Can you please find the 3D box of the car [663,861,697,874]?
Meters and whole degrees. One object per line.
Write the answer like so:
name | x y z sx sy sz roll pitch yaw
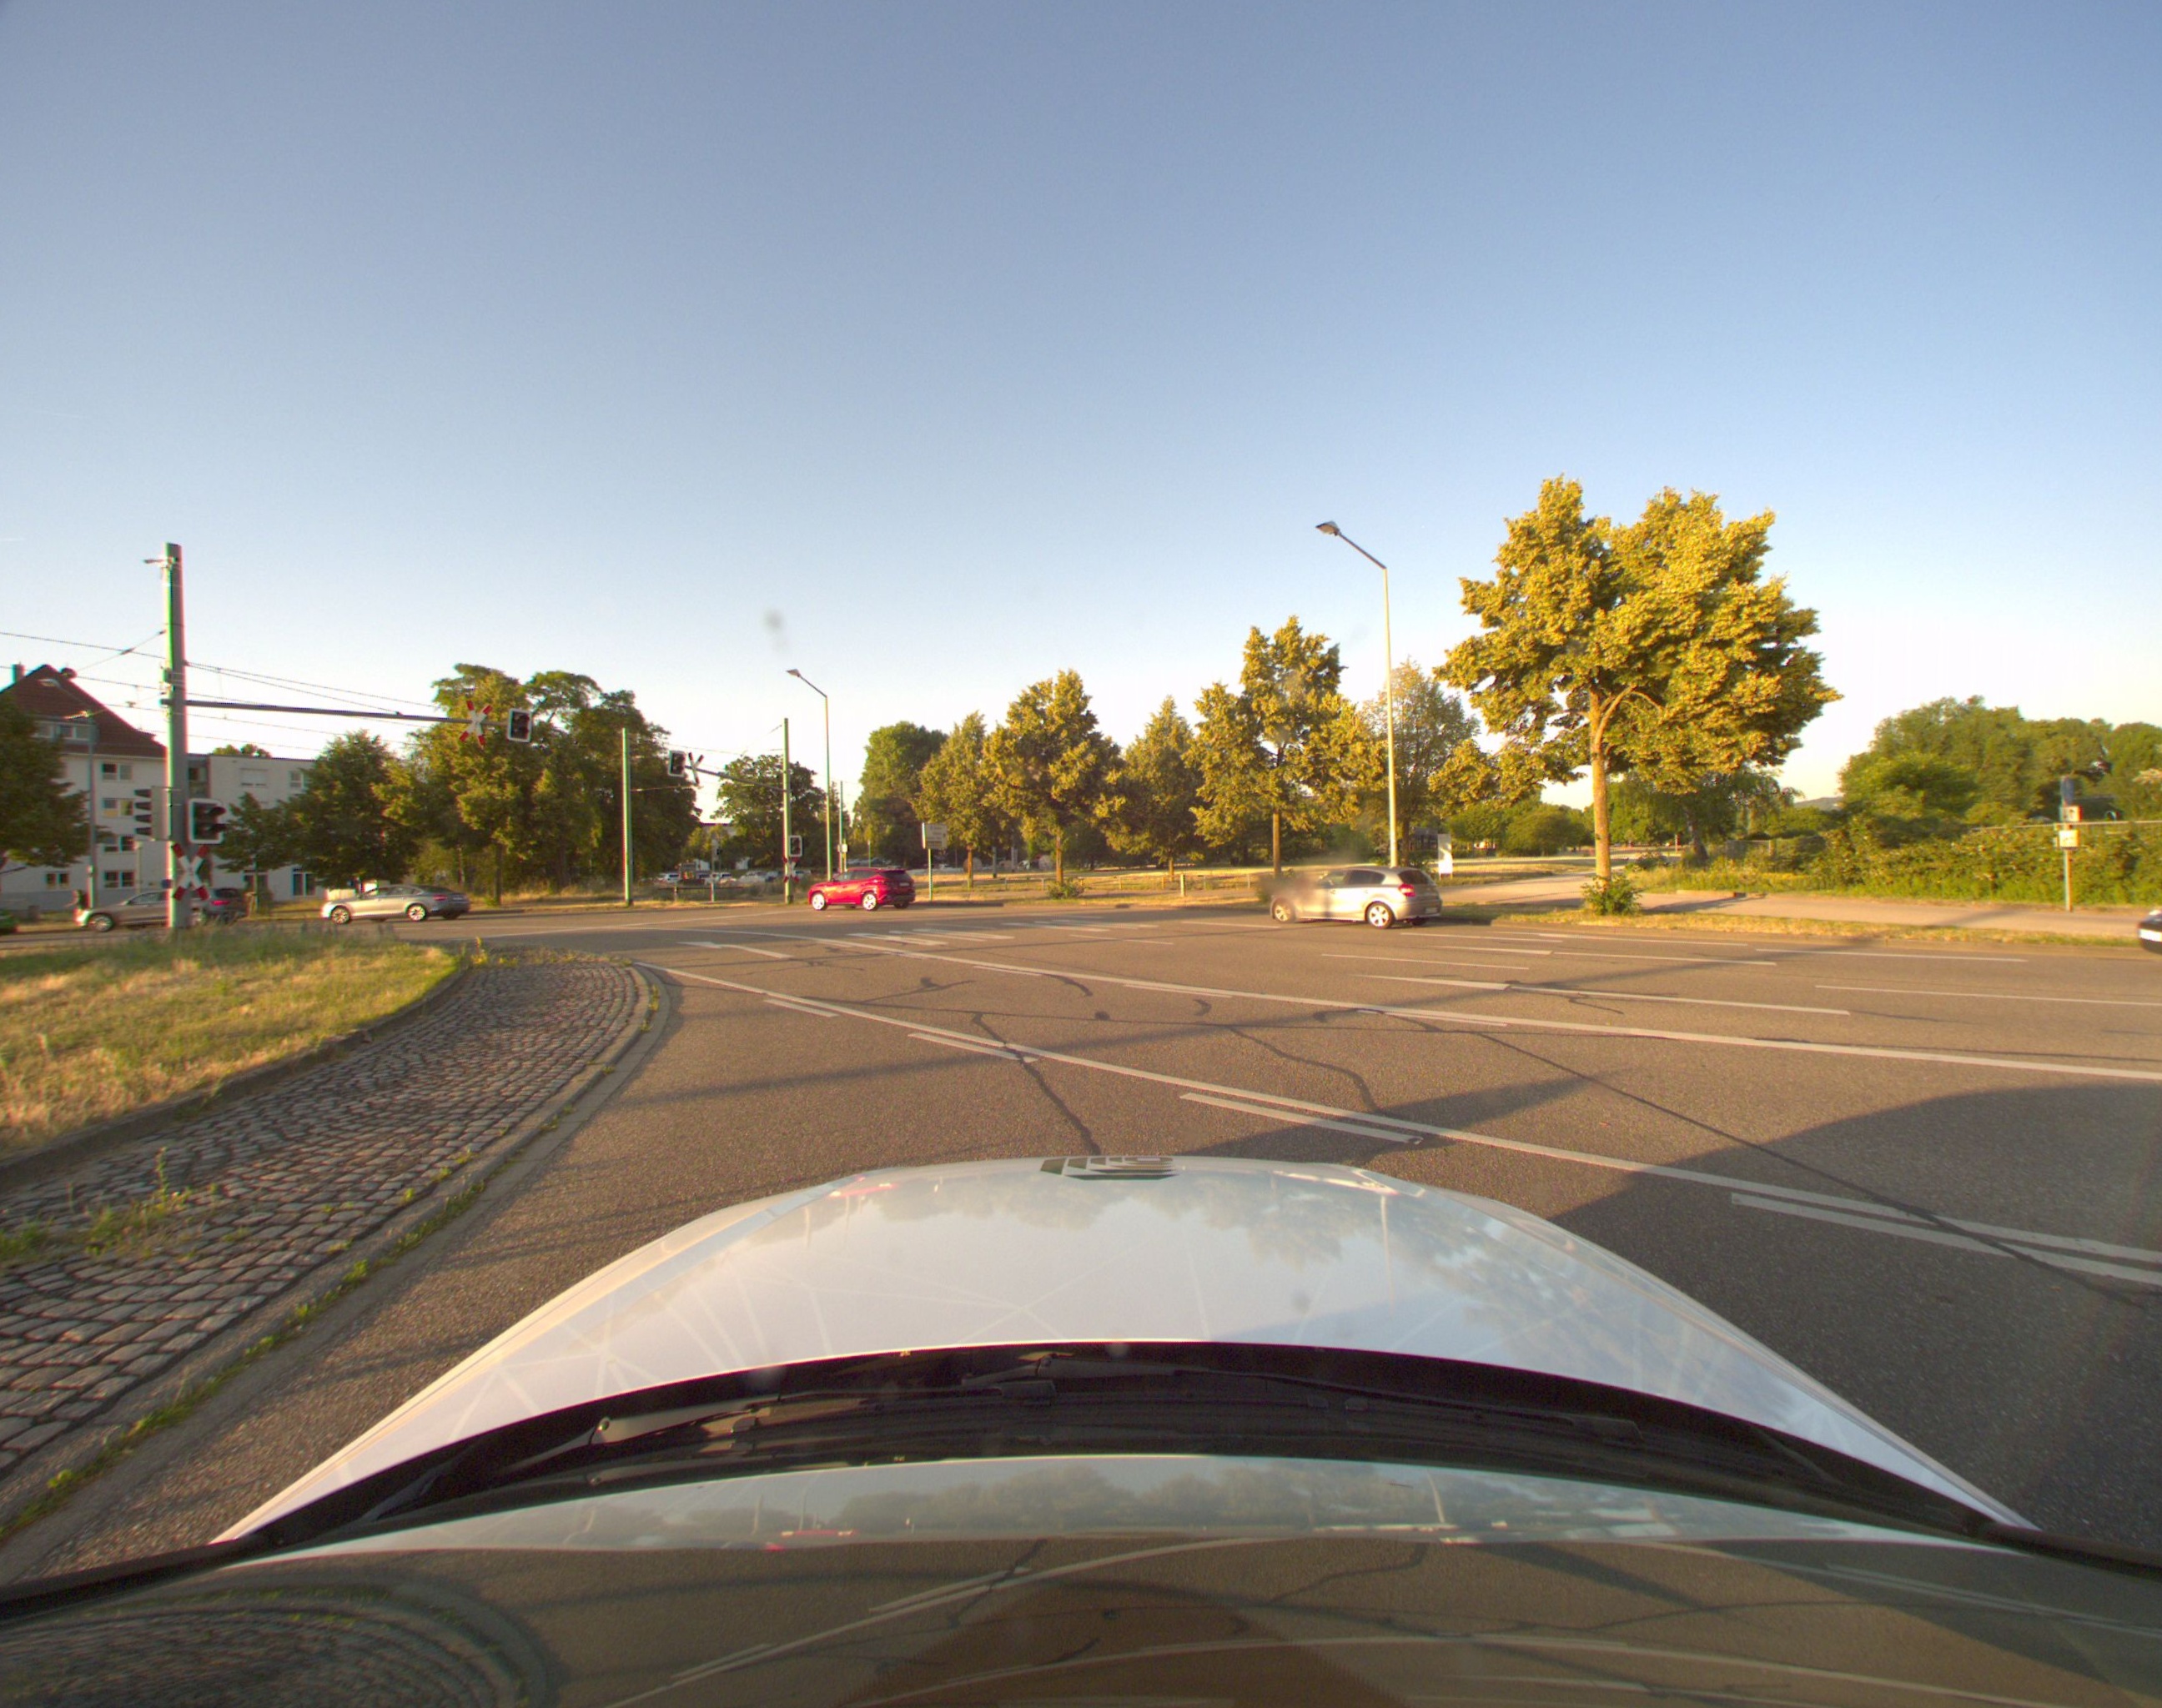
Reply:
car | -65.647 2.244 133.330 1.974 2.013 4.627 -2 0 32

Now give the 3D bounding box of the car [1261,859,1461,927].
car | 6.542 0.870 19.397 1.877 1.390 4.114 -1 0 -40

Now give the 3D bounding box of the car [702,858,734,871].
car | -61.908 1.800 139.069 1.974 2.013 4.628 -2 0 36

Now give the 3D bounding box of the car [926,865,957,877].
car | -19.976 2.380 116.484 3.948 1.604 2.013 -2 0 34

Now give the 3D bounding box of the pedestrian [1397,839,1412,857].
pedestrian | 30.625 -0.585 77.054 1.064 1.617 0.911 -2 0 4

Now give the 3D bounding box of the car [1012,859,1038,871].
car | -7.939 1.531 115.265 1.748 1.618 3.954 -1 0 -39

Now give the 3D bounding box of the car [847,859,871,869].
car | -41.729 1.898 153.026 1.974 1.816 4.026 -2 0 37

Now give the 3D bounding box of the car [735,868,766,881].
car | -46.213 2.793 113.949 4.005 1.662 1.984 -2 0 -24

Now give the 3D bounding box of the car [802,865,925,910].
car | -8.394 1.268 31.368 4.359 1.573 2.012 -2 0 29

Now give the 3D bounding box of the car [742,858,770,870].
car | -57.819 1.816 144.939 1.974 2.013 4.143 -2 0 36

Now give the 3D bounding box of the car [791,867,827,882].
car | -32.620 2.466 97.614 3.948 1.604 2.013 -2 0 34

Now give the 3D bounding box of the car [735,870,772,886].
car | -37.038 2.714 92.065 3.948 1.604 2.013 -2 0 34

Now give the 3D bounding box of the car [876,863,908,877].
car | -29.361 2.423 126.703 4.578 2.013 1.995 -2 0 -7

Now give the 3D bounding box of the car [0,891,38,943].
car | -35.496 2.027 24.631 4.482 1.579 1.988 -2 0 -18

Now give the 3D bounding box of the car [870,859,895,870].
car | -35.665 1.898 146.441 3.964 1.706 2.005 -2 0 8

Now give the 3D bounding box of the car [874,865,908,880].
car | -27.635 2.692 118.515 4.578 2.013 1.995 -2 0 -7

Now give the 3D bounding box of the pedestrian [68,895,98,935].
pedestrian | -48.859 2.964 39.886 0.666 1.893 0.619 0 -1 -4

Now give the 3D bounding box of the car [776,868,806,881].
car | -41.284 2.891 116.000 4.001 1.662 1.889 -2 0 -20

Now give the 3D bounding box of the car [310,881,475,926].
car | -26.467 1.881 31.422 4.643 1.464 1.885 -2 0 -2

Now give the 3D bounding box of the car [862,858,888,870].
car | -37.941 1.788 150.047 1.975 2.013 4.025 -2 0 42

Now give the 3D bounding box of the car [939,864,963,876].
car | -20.824 2.537 129.991 2.008 1.752 4.549 -1 1 -35

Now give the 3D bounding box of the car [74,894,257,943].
car | -37.181 2.567 33.226 4.523 1.637 1.988 -2 0 -18

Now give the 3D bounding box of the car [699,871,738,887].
car | -39.008 2.692 87.546 3.948 1.604 2.013 -2 0 34

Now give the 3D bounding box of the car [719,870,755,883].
car | -46.099 3.023 109.149 1.878 1.662 4.026 -2 0 37

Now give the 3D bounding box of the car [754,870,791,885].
car | -35.493 2.716 93.675 3.948 1.604 2.013 -2 0 34

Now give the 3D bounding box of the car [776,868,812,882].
car | -33.685 2.456 95.434 3.948 1.604 2.013 -2 0 34

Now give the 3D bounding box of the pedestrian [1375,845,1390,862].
pedestrian | 28.757 -0.065 77.741 1.064 1.617 0.911 -2 0 4

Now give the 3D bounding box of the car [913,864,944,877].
car | -21.452 2.323 114.790 3.948 1.604 2.013 -2 0 34

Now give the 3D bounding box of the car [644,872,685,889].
car | -42.639 2.684 83.329 3.948 1.604 2.013 -2 0 34

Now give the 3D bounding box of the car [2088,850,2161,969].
car | 15.454 0.651 9.589 4.108 1.454 1.879 -2 -2 35
